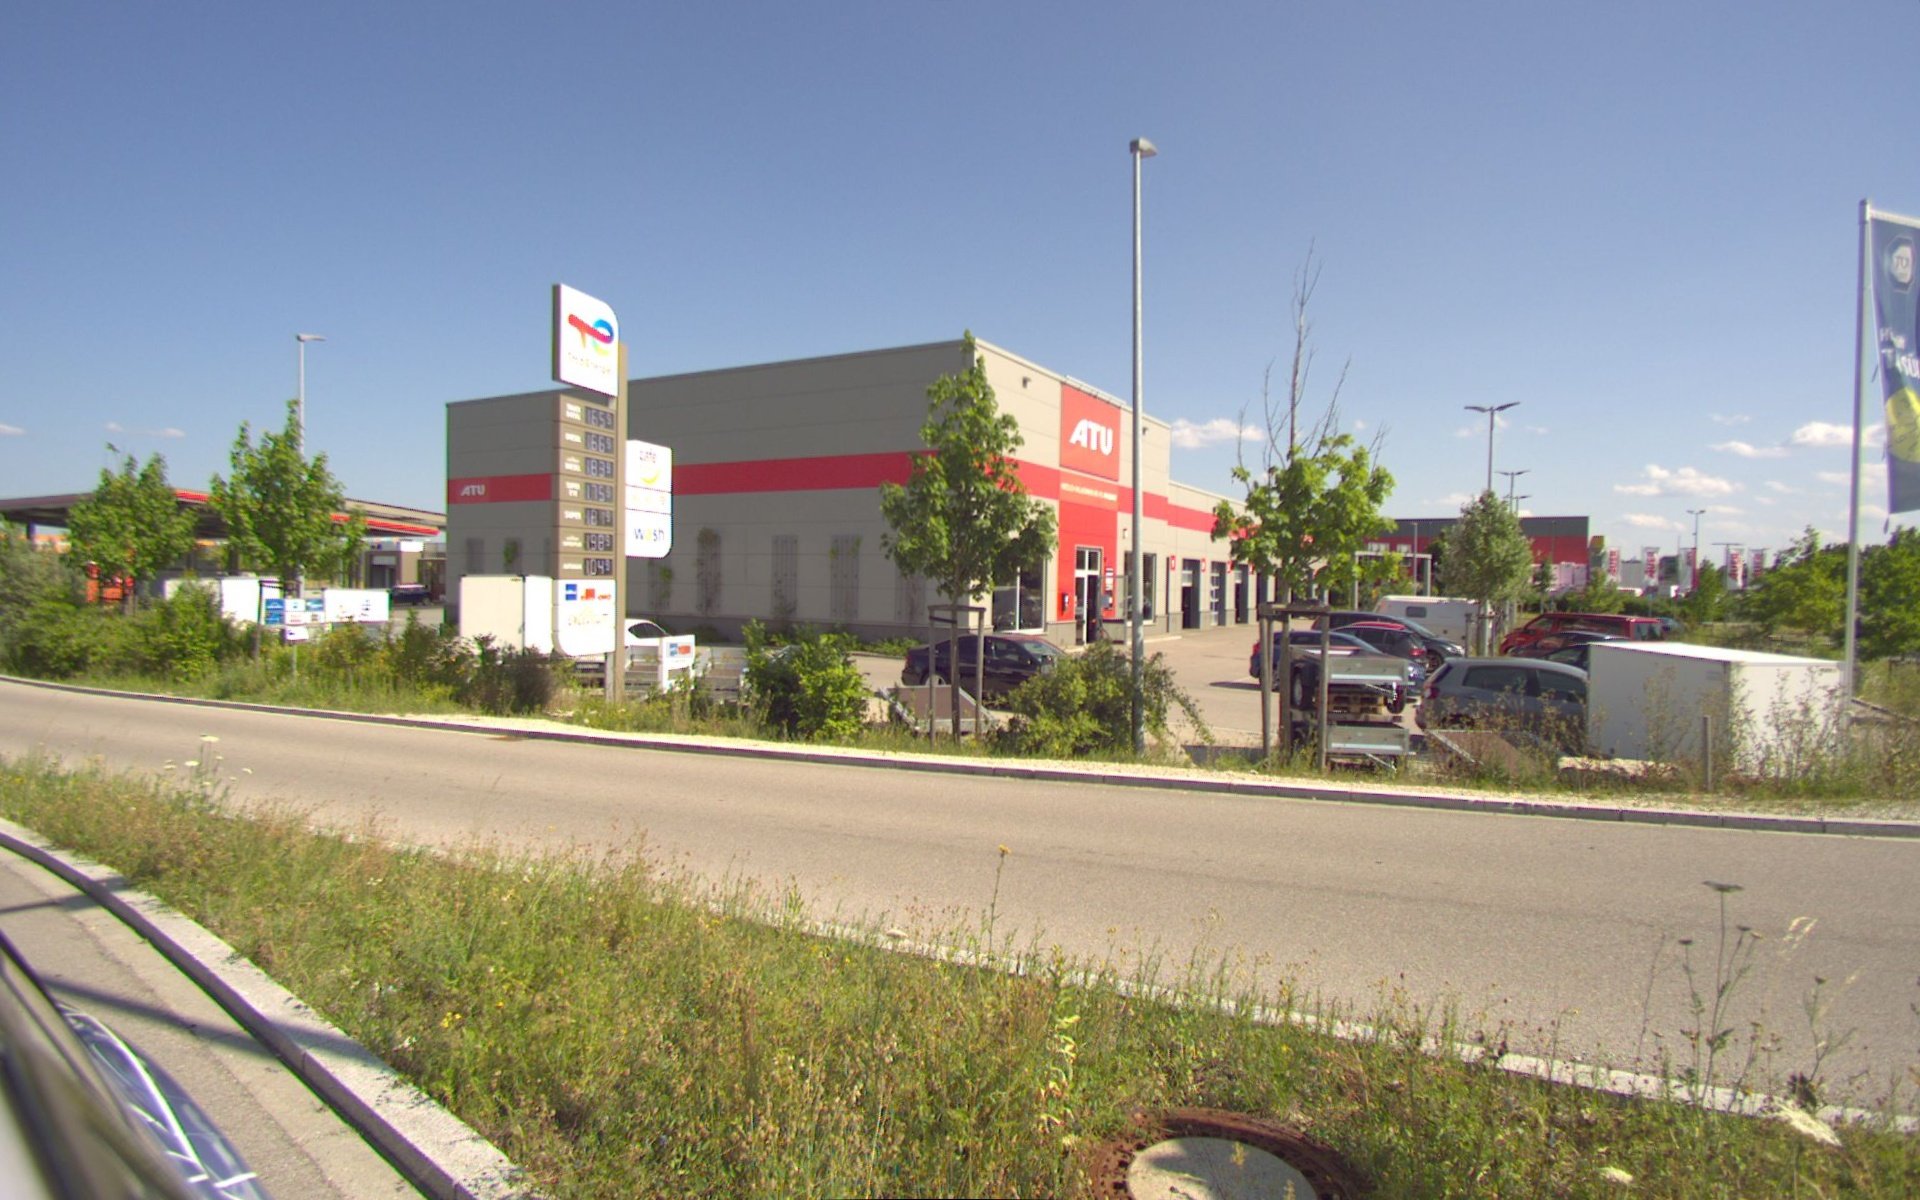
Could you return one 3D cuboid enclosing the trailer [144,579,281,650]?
[{"bbox_3d":[-22.516,0.403,30.656,1.969,2.029,3.211,0,1,-6],"label":"trailer"}]

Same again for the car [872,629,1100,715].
[{"bbox_3d":[0.478,1.411,21.013,4.486,1.495,1.783,0,0,34],"label":"car"}]

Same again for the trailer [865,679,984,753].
[{"bbox_3d":[-0.535,1.909,17.151,1.841,0.888,2.837,0,1,1],"label":"trailer"}]

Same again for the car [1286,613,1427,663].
[{"bbox_3d":[12.857,1.192,32.872,3.990,1.475,1.804,0,1,34],"label":"car"}]

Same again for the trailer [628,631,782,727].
[{"bbox_3d":[-4.647,1.386,18.846,1.533,1.495,3.179,0,1,12],"label":"trailer"}]

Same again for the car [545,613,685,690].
[{"bbox_3d":[-7.949,1.134,23.698,1.697,1.548,3.995,0,1,4],"label":"car"}]

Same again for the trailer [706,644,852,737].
[{"bbox_3d":[-3.129,1.535,17.950,1.378,1.332,2.895,0,1,17],"label":"trailer"}]

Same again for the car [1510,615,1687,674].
[{"bbox_3d":[18.367,1.223,29.316,1.794,1.475,4.013,-1,1,-25],"label":"car"}]

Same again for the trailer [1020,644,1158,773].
[{"bbox_3d":[1.947,1.640,16.321,1.684,1.462,3.698,0,3,-1],"label":"trailer"}]

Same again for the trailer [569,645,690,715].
[{"bbox_3d":[-6.251,1.481,19.373,1.303,1.094,2.773,0,1,3],"label":"trailer"}]

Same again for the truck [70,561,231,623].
[{"bbox_3d":[-46.607,-0.463,58.534,2.624,3.343,6.854,0,1,22],"label":"truck"}]

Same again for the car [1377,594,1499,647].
[{"bbox_3d":[19.268,0.788,40.852,4.332,2.029,1.884,0,1,30],"label":"car"}]

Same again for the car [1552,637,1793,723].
[{"bbox_3d":[15.849,1.709,22.747,1.794,1.475,4.014,2,1,-25],"label":"car"}]

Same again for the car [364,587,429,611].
[{"bbox_3d":[-39.693,-0.089,71.376,1.694,1.586,3.637,0,1,39],"label":"car"}]

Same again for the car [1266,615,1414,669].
[{"bbox_3d":[11.690,1.253,31.232,3.990,1.475,1.804,0,1,34],"label":"car"}]

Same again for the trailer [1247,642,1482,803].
[{"bbox_3d":[5.536,1.591,14.379,1.782,1.785,3.697,0,1,-1],"label":"trailer"}]

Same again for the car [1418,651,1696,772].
[{"bbox_3d":[9.618,1.719,16.526,3.731,1.563,1.725,0,1,32],"label":"car"}]

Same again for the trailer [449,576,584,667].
[{"bbox_3d":[-10.579,0.472,24.373,1.724,2.029,3.238,0,1,2],"label":"trailer"}]

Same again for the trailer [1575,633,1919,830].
[{"bbox_3d":[9.630,1.440,12.469,1.782,1.785,3.698,-1,2,-1],"label":"trailer"}]

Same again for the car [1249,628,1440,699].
[{"bbox_3d":[8.998,1.426,23.720,3.983,1.475,1.807,0,-2,29],"label":"car"}]

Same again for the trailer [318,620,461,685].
[{"bbox_3d":[-15.333,1.375,27.413,1.580,1.521,3.594,-1,1,6],"label":"trailer"}]

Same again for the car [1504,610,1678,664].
[{"bbox_3d":[19.996,1.113,32.307,1.794,1.475,4.470,-1,1,-25],"label":"car"}]

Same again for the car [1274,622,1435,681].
[{"bbox_3d":[11.165,1.403,28.710,3.990,1.475,1.804,0,1,34],"label":"car"}]

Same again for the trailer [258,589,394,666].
[{"bbox_3d":[-17.734,0.725,28.436,1.976,2.029,2.732,0,1,6],"label":"trailer"}]
